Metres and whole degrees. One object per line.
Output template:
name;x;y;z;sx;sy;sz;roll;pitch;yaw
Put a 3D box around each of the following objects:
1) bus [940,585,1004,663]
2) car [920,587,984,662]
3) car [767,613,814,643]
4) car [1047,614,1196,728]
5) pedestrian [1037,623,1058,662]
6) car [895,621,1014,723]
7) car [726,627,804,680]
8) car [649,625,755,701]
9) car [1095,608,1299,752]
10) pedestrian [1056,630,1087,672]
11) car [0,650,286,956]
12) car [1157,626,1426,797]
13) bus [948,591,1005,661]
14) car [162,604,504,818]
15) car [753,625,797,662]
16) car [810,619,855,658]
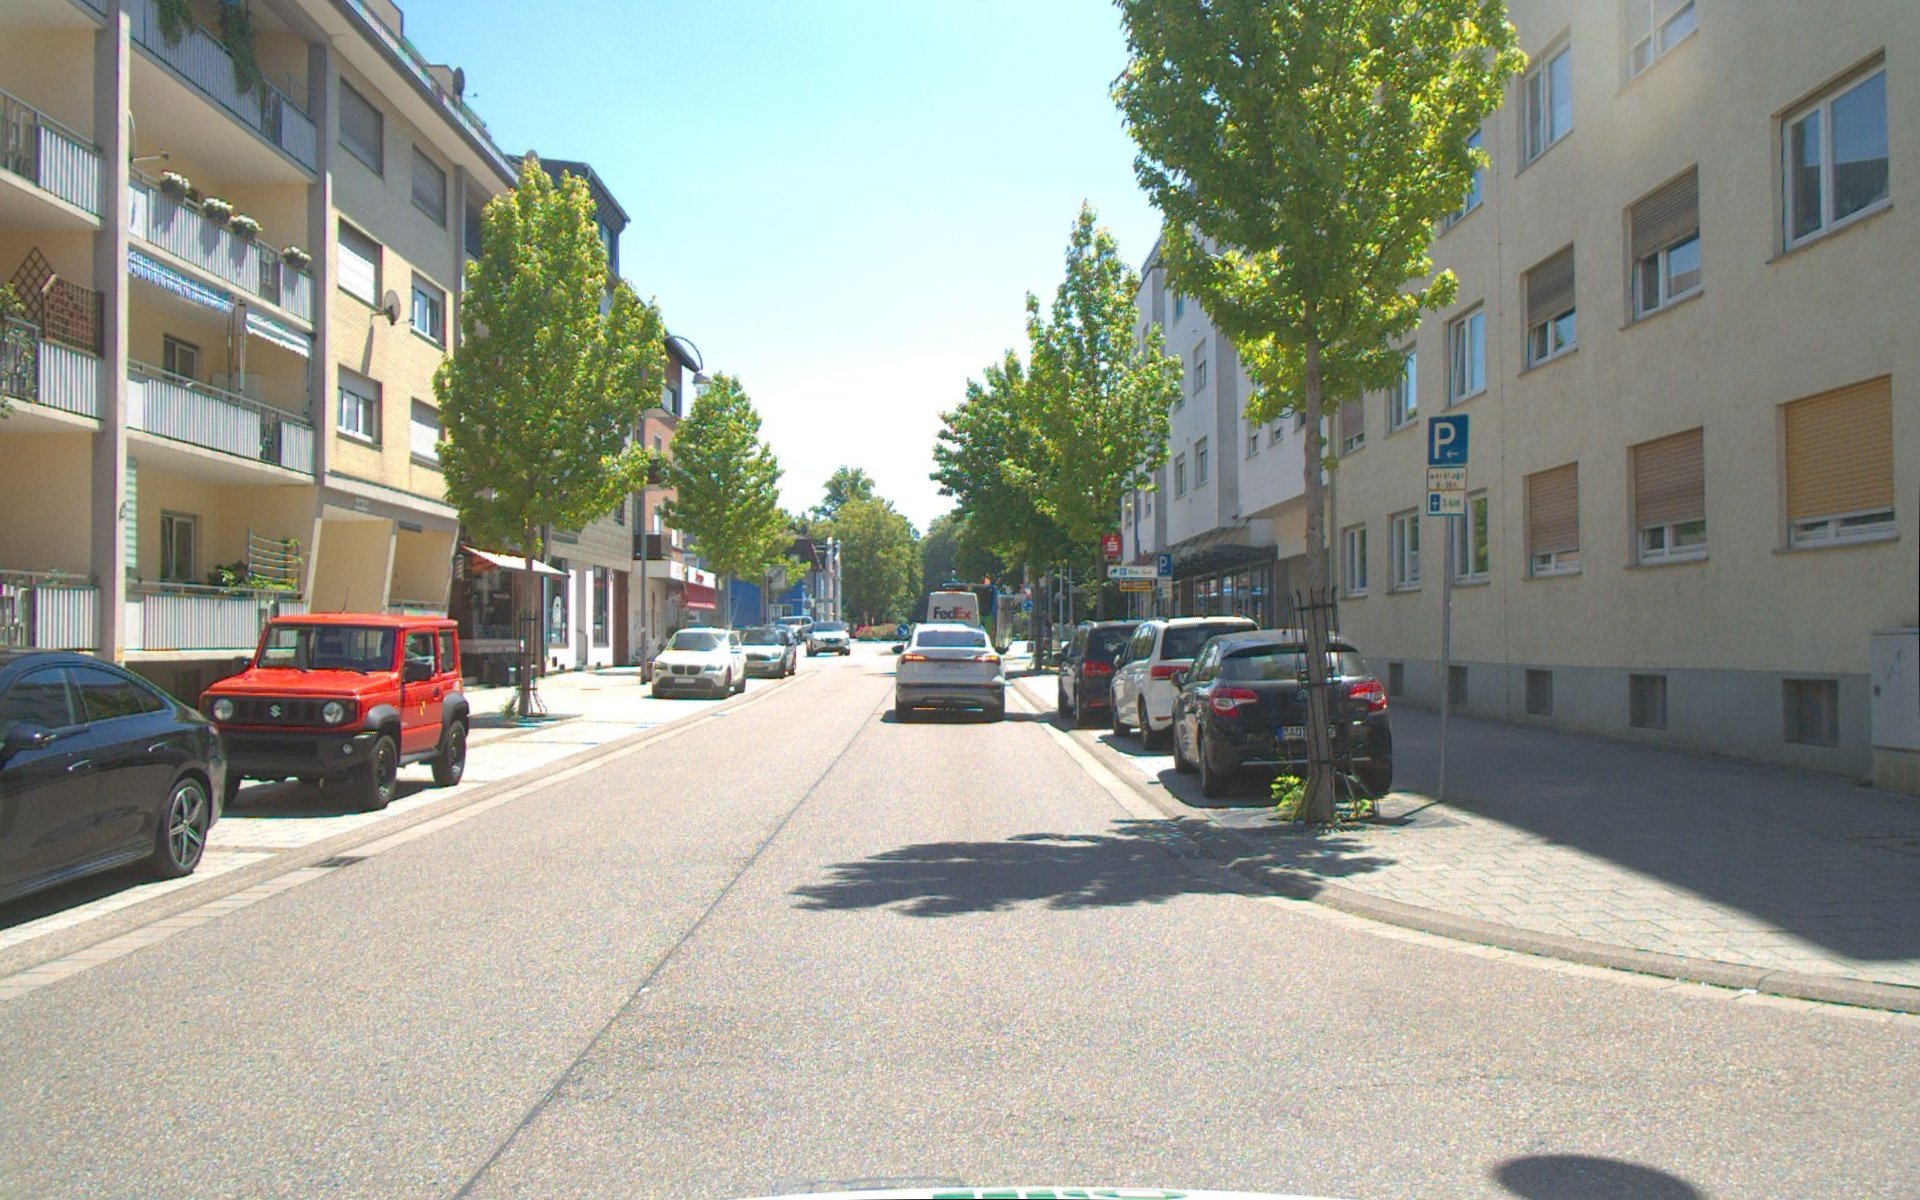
bus;0.626;1.121;74.646;2.605;3.278;7.302;1;-1;2
car;-0.291;0.898;59.104;2.112;2.485;5.282;1;-1;0
car;-10.378;1.748;101.661;1.825;1.788;4.003;1;-1;10
car;2.651;1.144;28.144;1.819;1.704;4.533;-2;-1;-3
pedestrian;3.436;1.678;65.249;0.703;1.529;0.581;-1;-1;-9
car;-0.145;1.235;29.449;1.953;1.662;3.998;1;-1;-2
car;-5.847;1.598;49.996;1.716;1.479;4.401;2;-1;1
car;-6.038;1.451;39.129;1.716;1.646;4.400;2;-1;1
car;3.130;1.027;22.808;1.858;1.704;4.687;-2;-1;-3
pedestrian;3.358;1.533;49.900;0.887;1.258;0.648;-1;-1;-2
car;-5.756;1.064;9.352;1.858;1.442;5.046;2;-1;-1
car;3.152;1.006;16.667;1.857;1.464;4.544;-1;-1;1
bus;0.874;1.321;82.007;2.605;3.266;7.452;1;-1;2
car;-5.785;0.960;15.829;1.717;1.732;4.100;2;-1;-1
car;-7.933;1.837;71.133;1.802;1.521;3.995;-1;-1;-6
car;-5.969;1.797;77.739;1.818;1.722;4.149;-2;-1;-1
